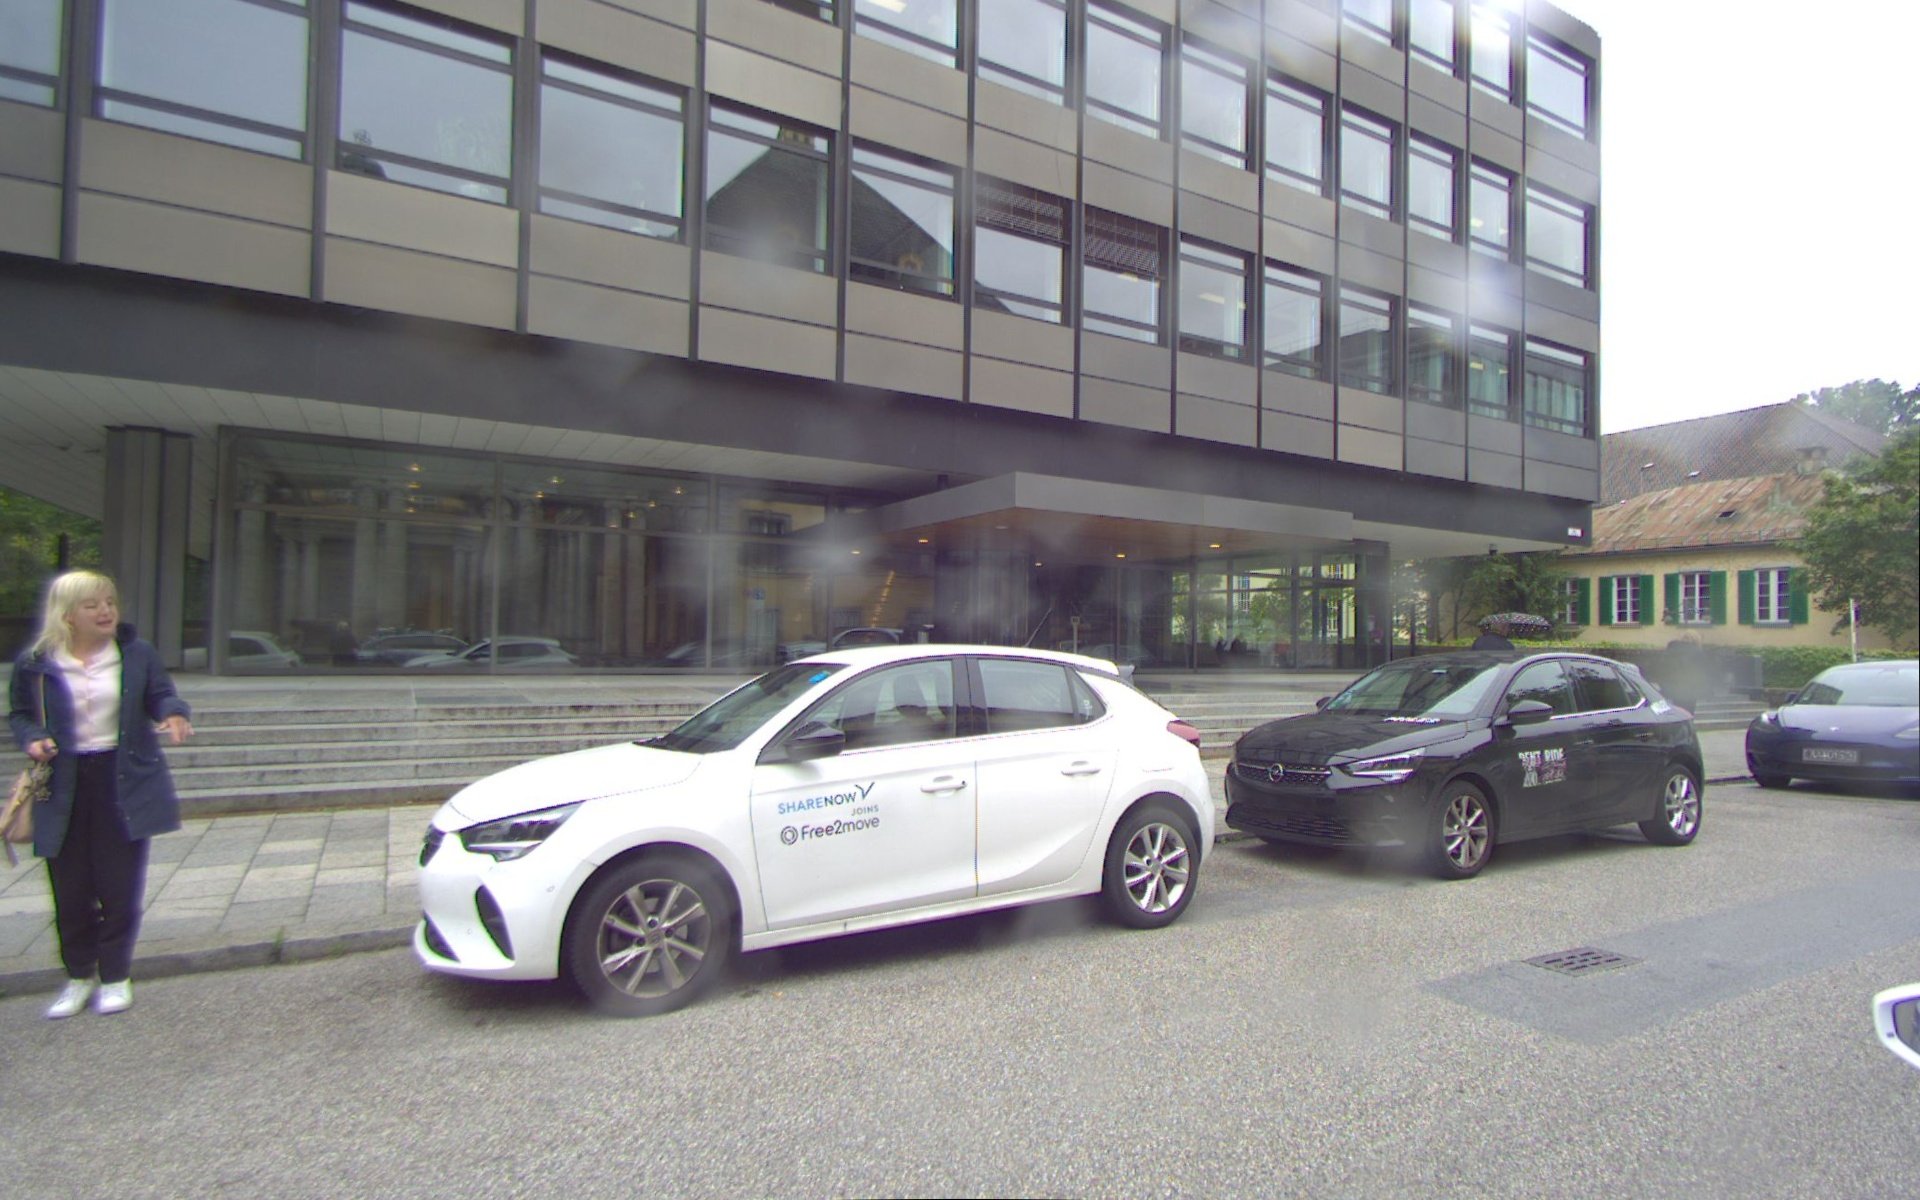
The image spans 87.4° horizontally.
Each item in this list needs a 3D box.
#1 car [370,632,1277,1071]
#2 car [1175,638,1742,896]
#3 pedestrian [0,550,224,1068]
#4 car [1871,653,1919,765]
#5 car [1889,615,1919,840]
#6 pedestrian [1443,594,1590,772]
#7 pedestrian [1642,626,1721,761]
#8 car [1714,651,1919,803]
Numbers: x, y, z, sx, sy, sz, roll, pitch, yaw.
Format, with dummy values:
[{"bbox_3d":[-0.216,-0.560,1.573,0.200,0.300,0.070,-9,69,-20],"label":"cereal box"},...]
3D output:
[{"bbox_3d":[-0.527,0.971,5.168,4.228,1.458,1.675,2,-5,-29],"label":"car"},{"bbox_3d":[3.819,1.087,7.587,4.184,1.480,1.733,2,-5,-29],"label":"car"},{"bbox_3d":[-3.411,0.746,3.920,0.681,1.774,0.887,1,-4,-27],"label":"pedestrian"},{"bbox_3d":[15.369,1.532,14.371,4.824,1.510,1.986,2,-4,-29],"label":"car"},{"bbox_3d":[9.721,1.001,8.014,4.620,1.711,2.017,2,-3,-29],"label":"car"},{"bbox_3d":[6.947,0.995,12.563,1.207,2.082,1.129,2,-1,-30],"label":"pedestrian"},{"bbox_3d":[9.997,1.261,13.915,0.745,1.772,0.947,-1,-2,44],"label":"pedestrian"},{"bbox_3d":[10.958,1.372,11.610,4.863,1.458,1.913,3,-5,-32],"label":"car"}]
